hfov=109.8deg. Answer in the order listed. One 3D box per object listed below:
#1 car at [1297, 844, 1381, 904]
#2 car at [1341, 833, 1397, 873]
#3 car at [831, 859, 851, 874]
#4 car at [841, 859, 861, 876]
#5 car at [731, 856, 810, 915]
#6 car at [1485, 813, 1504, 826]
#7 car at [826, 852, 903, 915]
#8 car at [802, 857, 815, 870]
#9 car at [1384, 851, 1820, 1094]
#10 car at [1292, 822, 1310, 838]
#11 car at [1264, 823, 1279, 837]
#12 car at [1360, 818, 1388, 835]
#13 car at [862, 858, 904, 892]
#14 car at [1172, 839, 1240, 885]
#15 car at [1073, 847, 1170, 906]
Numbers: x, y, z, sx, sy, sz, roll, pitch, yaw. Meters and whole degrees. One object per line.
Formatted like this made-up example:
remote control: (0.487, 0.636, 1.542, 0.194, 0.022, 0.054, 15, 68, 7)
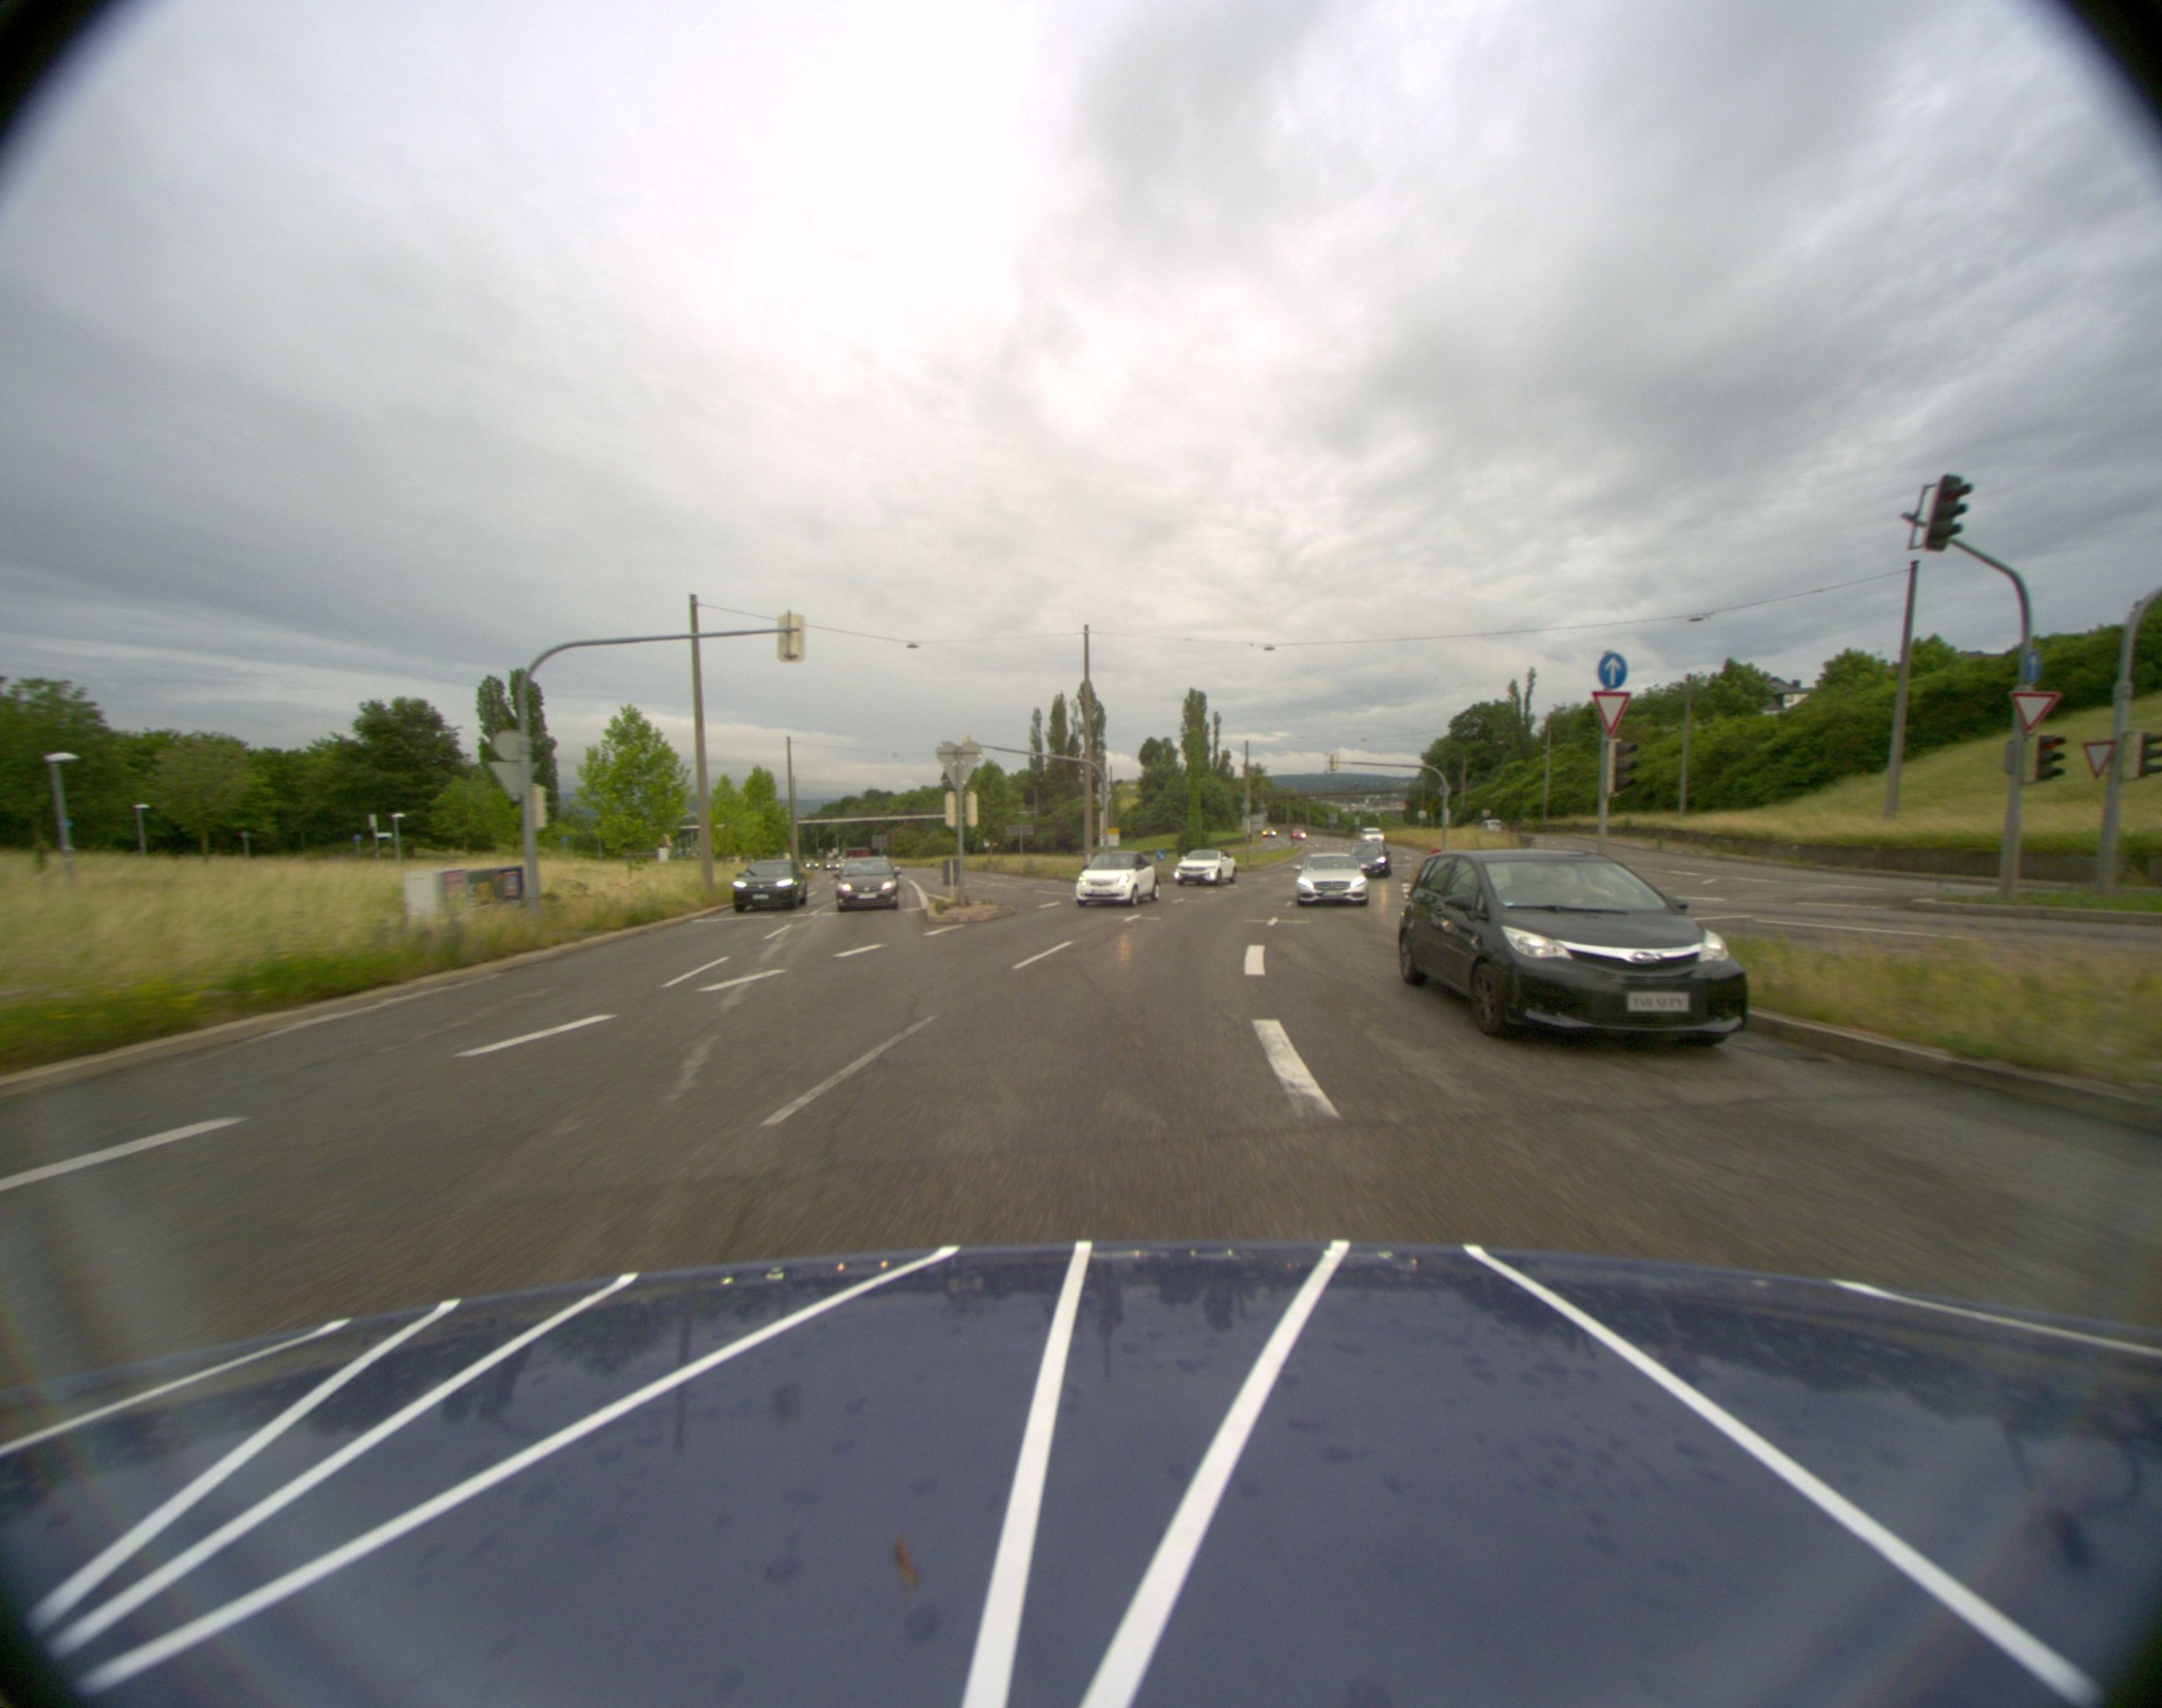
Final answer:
car: (7.264, 0.508, 21.797, 1.996, 1.400, 4.528, -1, 2, 15)
car: (13.567, -0.090, 35.649, 1.924, 1.725, 4.032, -2, 1, 28)
car: (-33.386, 1.714, 105.641, 2.002, 2.002, 3.991, -3, 1, -25)
car: (-28.234, 1.599, 93.178, 1.840, 1.937, 3.992, -3, 1, -23)
car: (-10.221, 0.968, 25.307, 1.721, 1.633, 3.882, -4, 2, -13)
car: (50.881, -4.256, 93.512, 1.558, 1.424, 3.233, -3, 2, 22)
car: (-6.699, 0.840, 23.958, 2.001, 1.633, 4.622, -3, 1, -13)
car: (-44.813, 1.606, 124.928, 2.002, 2.002, 3.993, -2, 1, -20)
car: (4.315, 0.787, 7.196, 1.799, 1.557, 4.045, 0, 1, 9)
car: (30.016, -3.224, 103.763, 1.997, 2.002, 4.003, -2, 1, 11)
car: (28.688, -3.584, 114.646, 1.997, 2.002, 4.003, -2, 1, 13)
car: (31.222, -2.940, 81.115, 1.997, 1.682, 4.291, -2, 1, 11)
car: (-9.272, 0.940, 35.853, 1.749, 1.419, 3.995, -2, 1, -13)
car: (5.451, 0.306, 32.776, 1.840, 1.533, 3.820, -2, 6, 25)
car: (1.319, 0.598, 22.726, 1.723, 1.514, 4.232, -1, 1, 20)
